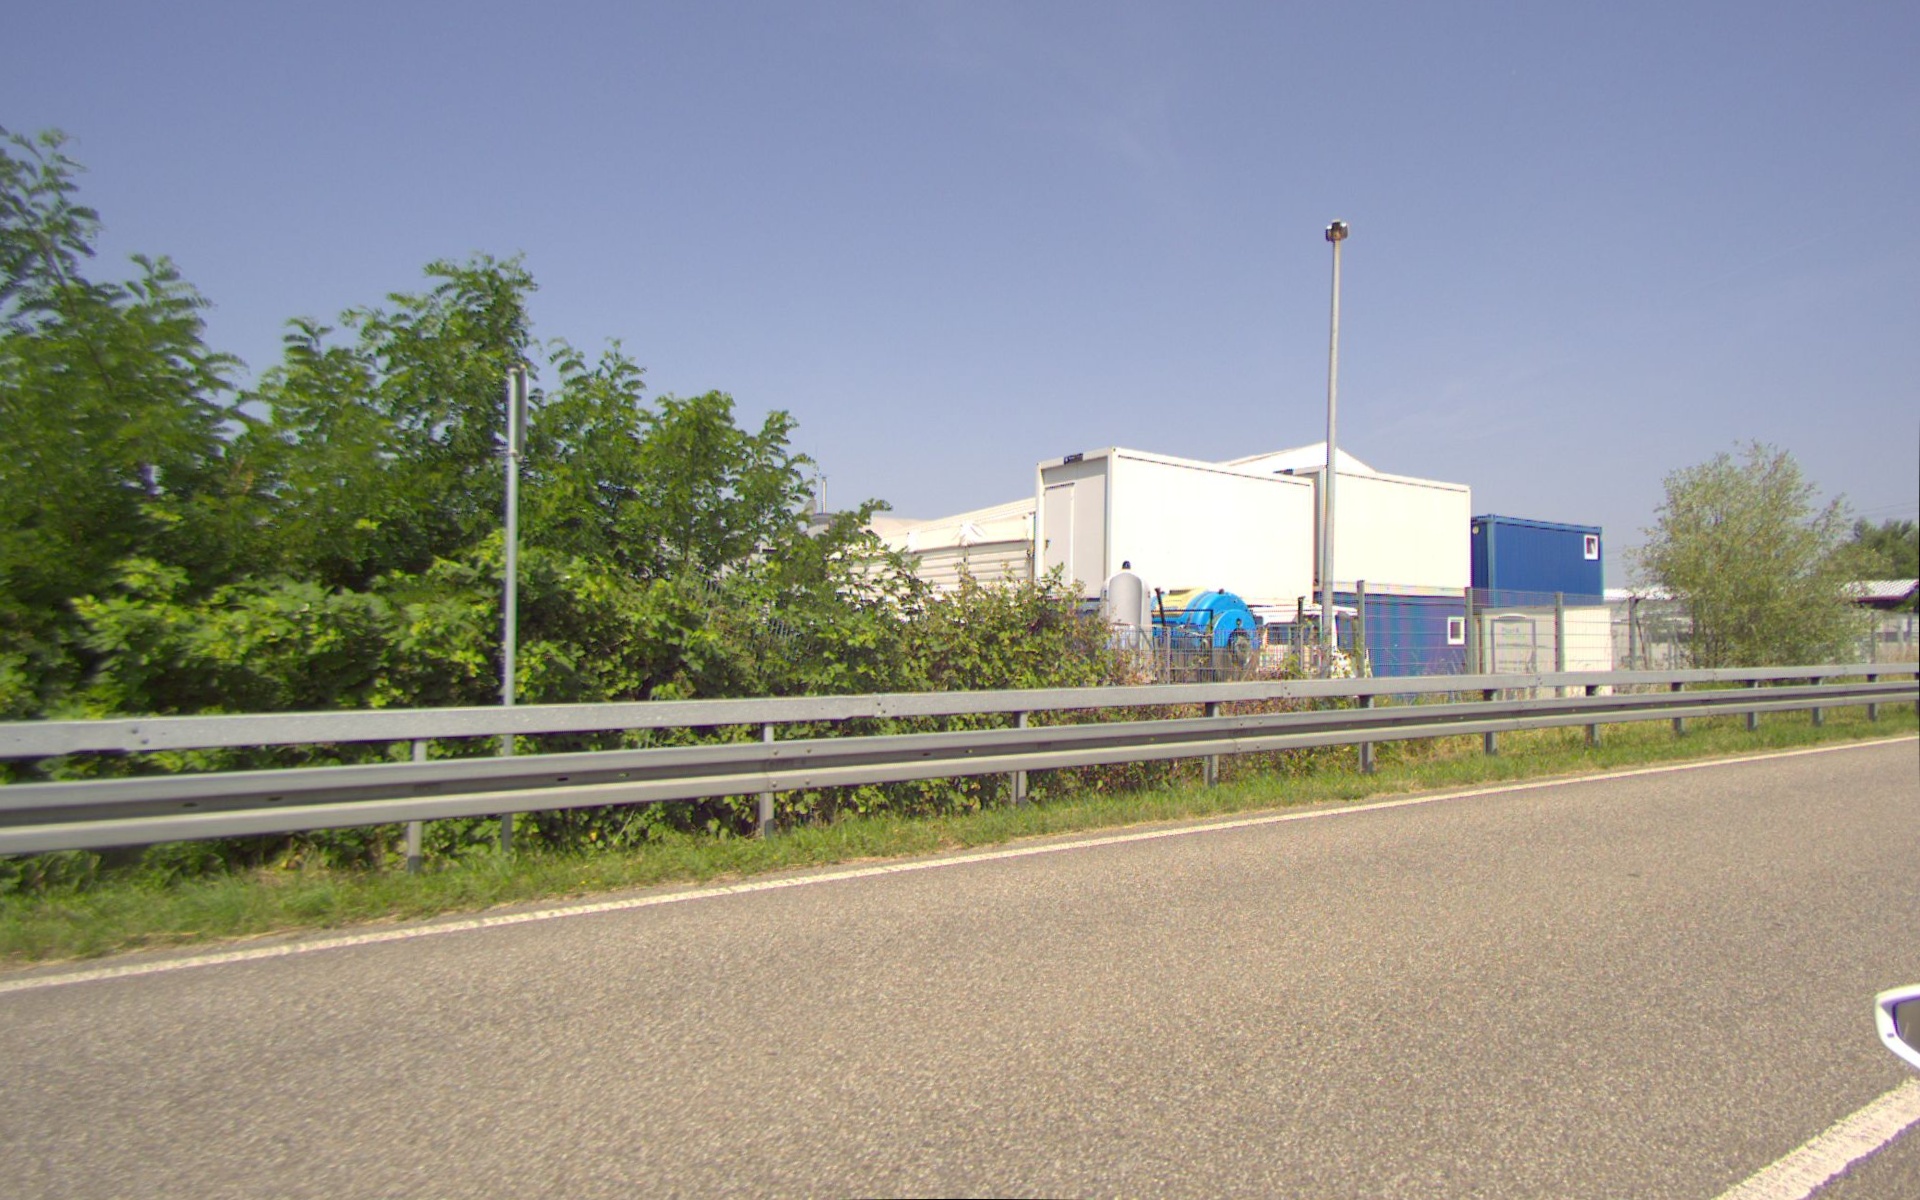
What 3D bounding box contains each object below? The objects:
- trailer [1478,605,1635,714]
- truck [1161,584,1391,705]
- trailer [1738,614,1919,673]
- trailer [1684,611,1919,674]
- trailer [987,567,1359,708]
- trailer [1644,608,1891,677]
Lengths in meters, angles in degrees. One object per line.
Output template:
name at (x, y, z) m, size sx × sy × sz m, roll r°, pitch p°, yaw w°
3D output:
trailer at (14.913, 1.406, 25.052) m, size 3.885 × 2.470 × 1.980 m, roll 1°, pitch 0°, yaw -36°
truck at (5.979, 0.779, 18.921) m, size 3.960 × 2.030 × 2.188 m, roll 1°, pitch 0°, yaw -35°
trailer at (29.188, 1.360, 32.786) m, size 2.452 × 1.743 × 5.506 m, roll 1°, pitch -1°, yaw -27°
trailer at (26.691, 1.278, 31.904) m, size 2.454 × 1.767 × 5.503 m, roll 1°, pitch -1°, yaw -28°
trailer at (3.888, 0.591, 17.376) m, size 6.905 × 2.030 × 2.187 m, roll 1°, pitch 0°, yaw -35°
trailer at (24.352, 1.205, 30.544) m, size 2.514 × 1.873 × 5.360 m, roll 1°, pitch -1°, yaw -30°
